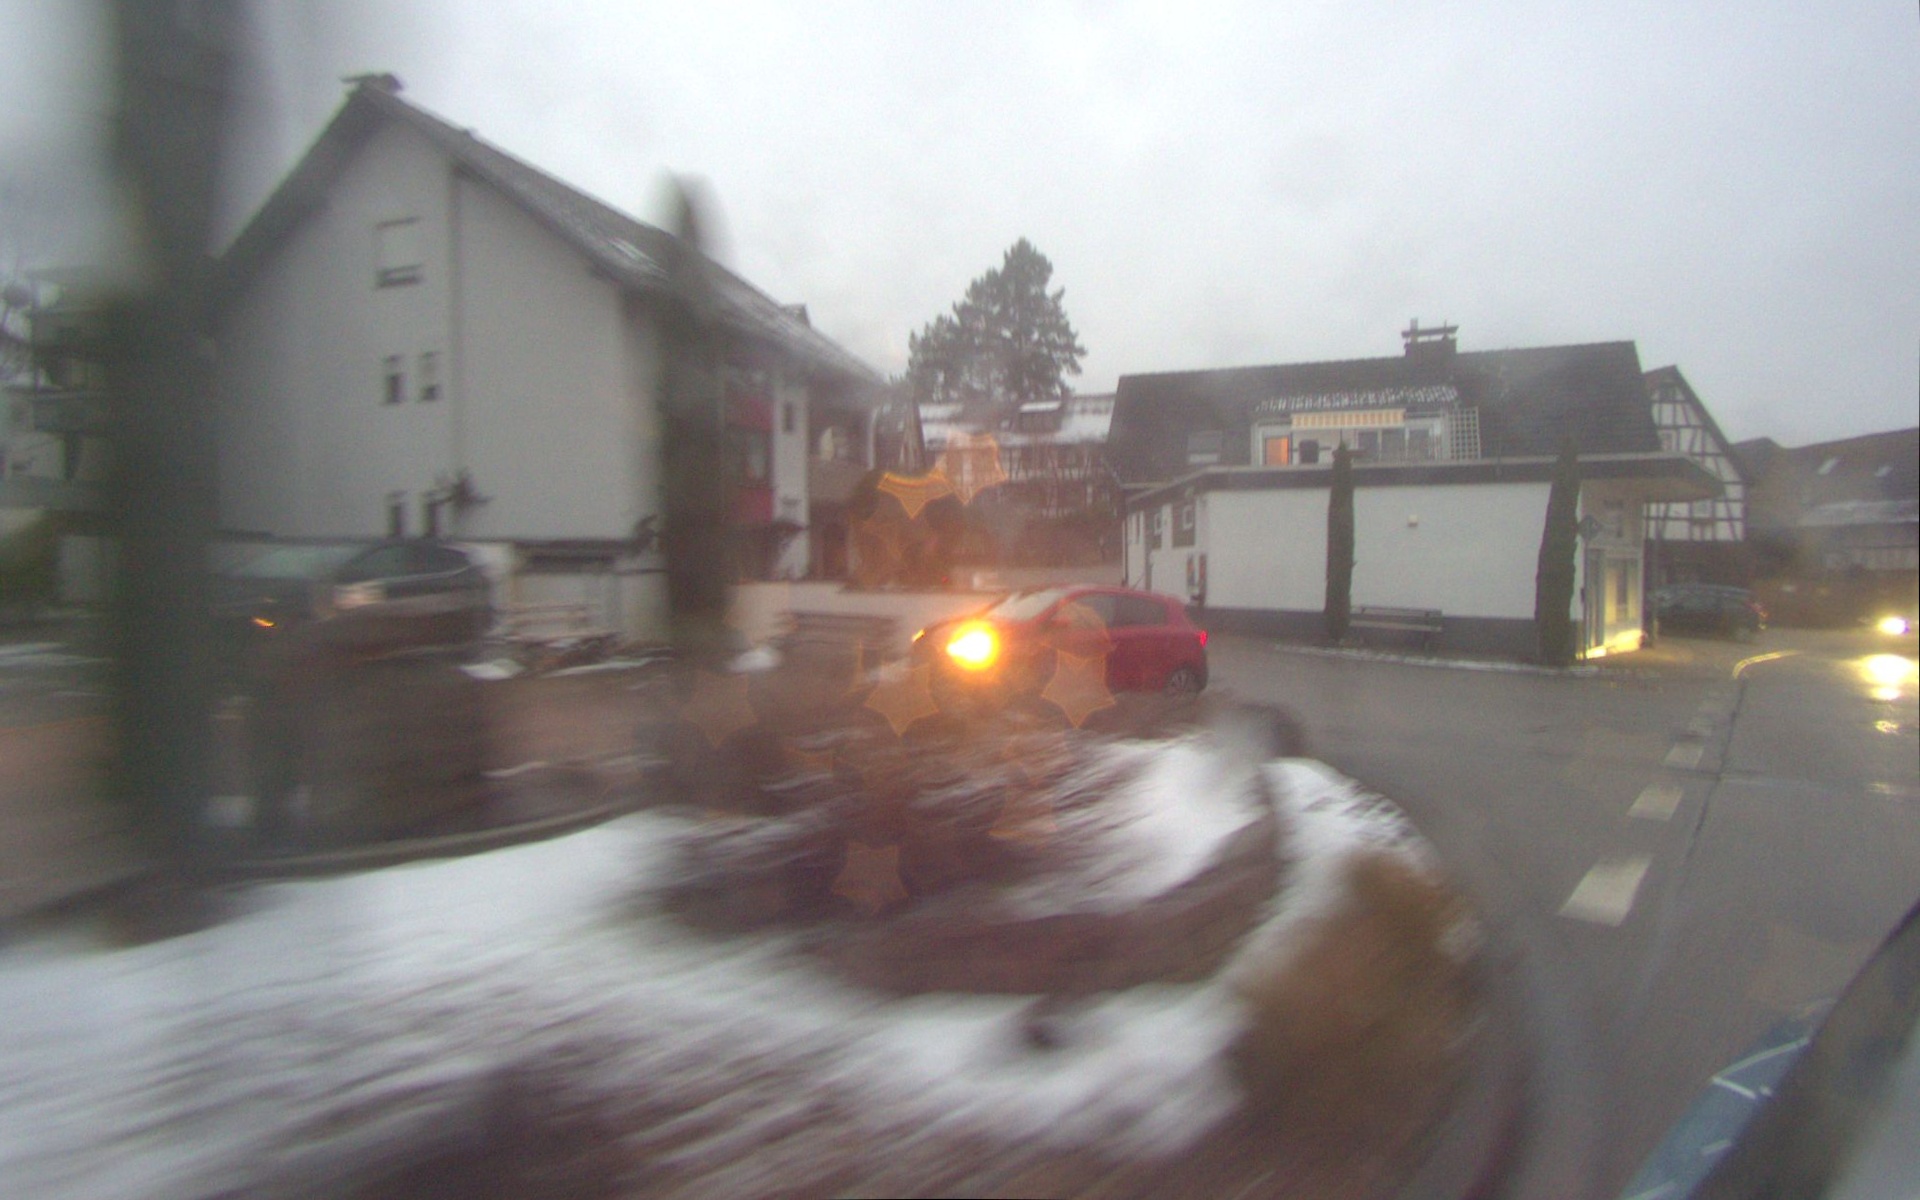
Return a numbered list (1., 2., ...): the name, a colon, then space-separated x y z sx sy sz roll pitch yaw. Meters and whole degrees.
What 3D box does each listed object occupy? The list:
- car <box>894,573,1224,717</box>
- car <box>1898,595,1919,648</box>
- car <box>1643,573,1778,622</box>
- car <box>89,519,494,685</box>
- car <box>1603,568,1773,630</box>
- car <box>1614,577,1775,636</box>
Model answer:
1. car: 1.201 0.455 12.013 3.623 1.484 1.553 0 1 -27
2. car: 31.196 0.681 31.985 4.087 1.598 1.996 0 1 -43
3. car: 30.322 -0.122 41.005 3.928 1.533 1.592 5 5 14
4. car: -8.014 -0.049 12.669 1.788 1.652 4.120 3 2 13
5. car: 25.931 -0.071 36.233 4.423 1.680 1.845 6 5 20
6. car: 24.550 0.177 34.004 3.849 1.466 1.877 6 6 21
